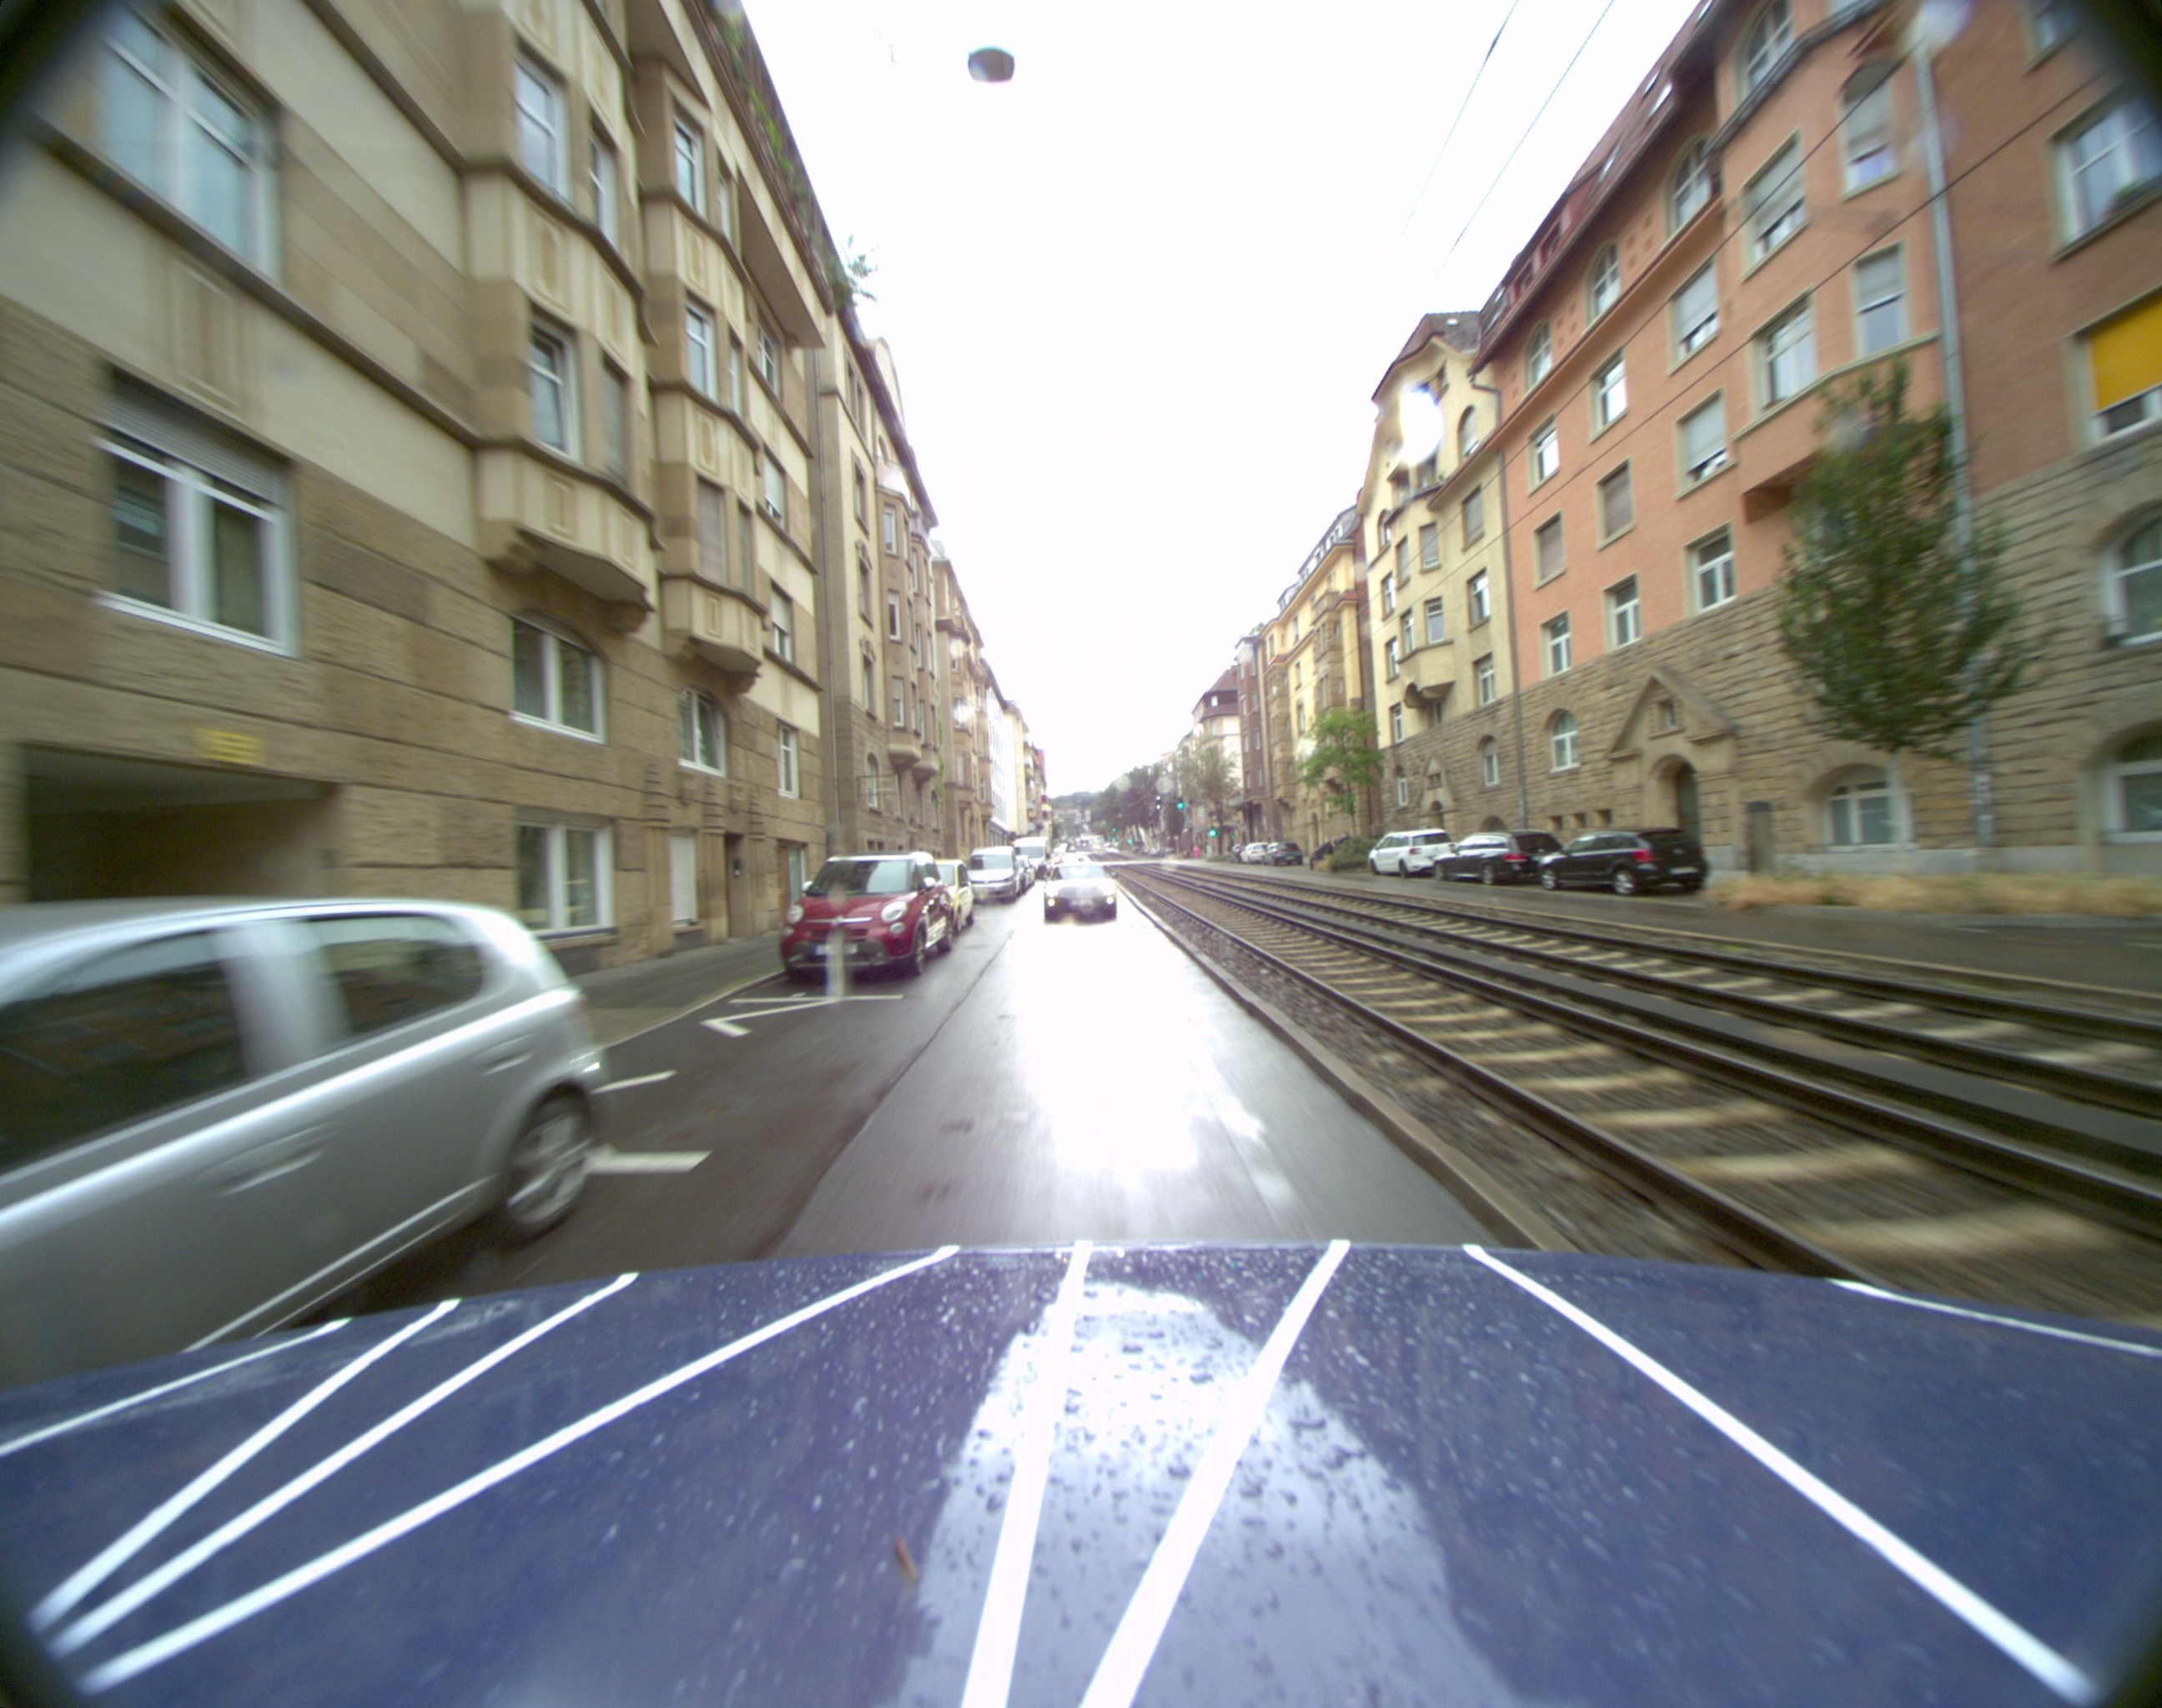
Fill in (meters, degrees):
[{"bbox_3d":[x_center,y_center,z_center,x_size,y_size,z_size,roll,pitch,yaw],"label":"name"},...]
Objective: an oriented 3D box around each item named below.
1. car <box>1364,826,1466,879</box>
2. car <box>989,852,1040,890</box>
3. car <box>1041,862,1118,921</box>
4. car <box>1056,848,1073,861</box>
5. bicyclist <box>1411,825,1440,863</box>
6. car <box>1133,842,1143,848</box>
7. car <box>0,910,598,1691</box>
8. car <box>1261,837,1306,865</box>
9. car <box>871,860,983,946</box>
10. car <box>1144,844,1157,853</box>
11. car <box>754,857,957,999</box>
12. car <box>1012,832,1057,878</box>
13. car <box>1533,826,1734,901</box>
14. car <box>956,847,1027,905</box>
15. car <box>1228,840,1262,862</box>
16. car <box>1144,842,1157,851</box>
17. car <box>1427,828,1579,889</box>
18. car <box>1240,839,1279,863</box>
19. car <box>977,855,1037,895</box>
[{"bbox_3d":[12.207,-0.084,28.067,1.759,1.663,4.259,-5,1,0],"label":"car"},{"bbox_3d":[-3.038,0.747,35.533,1.935,1.516,4.058,-3,1,1],"label":"car"},{"bbox_3d":[-0.017,0.868,19.379,1.737,1.262,4.257,-1,0,1],"label":"car"},{"bbox_3d":[-1.961,0.022,89.142,1.794,1.459,4.257,-2,1,1],"label":"car"},{"bbox_3d":[14.929,-0.436,32.932,0.894,1.592,0.774,-2,1,0],"label":"bicyclist"},{"bbox_3d":[12.268,-1.950,164.531,1.794,1.339,4.257,-2,1,0],"label":"car"},{"bbox_3d":[-3.083,1.037,1.751,1.598,1.478,3.522,-2,1,1],"label":"car"},{"bbox_3d":[12.403,-0.223,46.695,1.717,1.474,3.712,-5,1,2],"label":"car"},{"bbox_3d":[-3.167,0.958,16.297,1.632,1.502,3.530,-3,1,-1],"label":"car"},{"bbox_3d":[11.192,-0.926,122.749,1.794,1.339,4.257,-2,1,0],"label":"car"},{"bbox_3d":[-3.007,0.887,11.051,1.774,1.592,3.999,-2,1,-1],"label":"car"},{"bbox_3d":[-2.801,0.036,46.878,1.991,2.520,6.154,-3,1,3],"label":"car"},{"bbox_3d":[12.465,0.165,17.472,1.760,1.396,3.693,-5,1,-2],"label":"car"},{"bbox_3d":[-2.961,0.673,25.902,1.811,1.758,3.962,-2,1,1],"label":"car"},{"bbox_3d":[12.451,-0.250,57.740,1.759,1.419,3.712,-5,1,2],"label":"car"},{"bbox_3d":[12.287,-1.332,134.100,1.794,1.610,4.257,-2,1,0],"label":"car"},{"bbox_3d":[12.205,0.088,22.376,1.760,1.482,4.596,-4,1,-1],"label":"car"},{"bbox_3d":[12.324,-0.259,52.756,1.759,1.443,4.043,-5,1,2],"label":"car"},{"bbox_3d":[-2.946,0.825,31.109,1.931,1.380,3.981,-3,1,1],"label":"car"}]
